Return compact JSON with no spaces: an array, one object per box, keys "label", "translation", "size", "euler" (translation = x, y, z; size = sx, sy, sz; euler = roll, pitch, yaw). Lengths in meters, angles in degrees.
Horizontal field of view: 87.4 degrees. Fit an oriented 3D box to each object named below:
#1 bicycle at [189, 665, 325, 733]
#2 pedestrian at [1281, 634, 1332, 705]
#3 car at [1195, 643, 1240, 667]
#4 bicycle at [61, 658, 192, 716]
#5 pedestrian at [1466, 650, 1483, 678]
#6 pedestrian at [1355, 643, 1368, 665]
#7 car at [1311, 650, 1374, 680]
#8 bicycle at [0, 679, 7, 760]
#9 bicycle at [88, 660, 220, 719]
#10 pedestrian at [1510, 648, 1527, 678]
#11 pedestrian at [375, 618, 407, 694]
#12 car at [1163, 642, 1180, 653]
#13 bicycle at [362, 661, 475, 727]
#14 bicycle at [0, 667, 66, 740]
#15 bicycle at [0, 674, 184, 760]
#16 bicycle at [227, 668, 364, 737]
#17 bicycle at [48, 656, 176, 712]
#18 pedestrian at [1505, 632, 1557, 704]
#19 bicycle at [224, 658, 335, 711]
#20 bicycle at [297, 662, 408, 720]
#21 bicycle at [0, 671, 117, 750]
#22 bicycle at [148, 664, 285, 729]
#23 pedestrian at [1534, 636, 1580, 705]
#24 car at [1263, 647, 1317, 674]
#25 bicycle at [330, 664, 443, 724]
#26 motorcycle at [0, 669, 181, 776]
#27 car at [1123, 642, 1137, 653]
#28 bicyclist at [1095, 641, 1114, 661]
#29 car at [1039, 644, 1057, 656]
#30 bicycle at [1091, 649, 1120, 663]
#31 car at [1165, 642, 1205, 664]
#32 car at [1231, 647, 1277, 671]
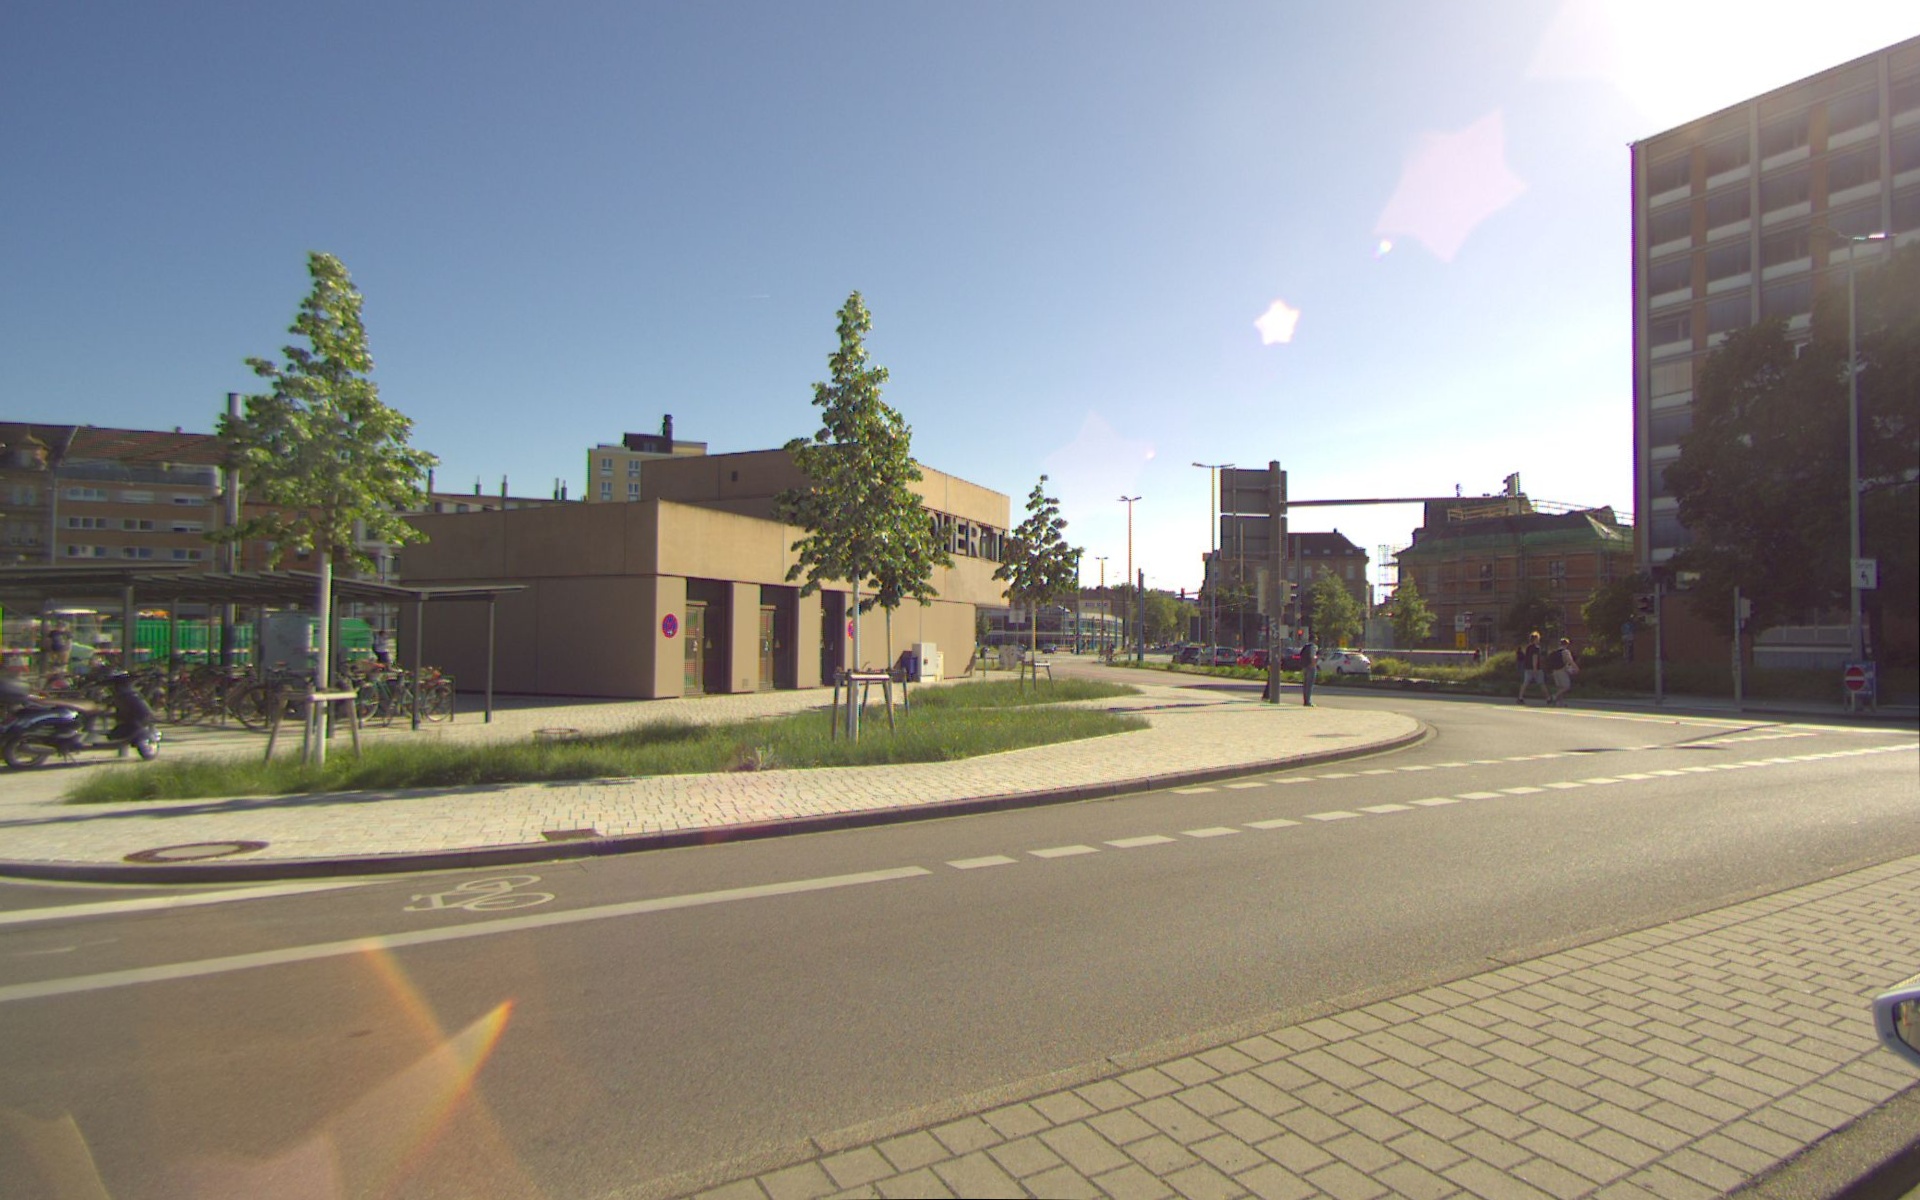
[{"label":"bicycle","translation":[-11.888,1.649,17.059],"size":[0.449,1.022,1.902],"euler":[0,-2,26]},{"label":"pedestrian","translation":[8.711,1.738,25.250],"size":[1.044,1.753,0.652],"euler":[1,-2,-16]},{"label":"car","translation":[17.464,3.689,68.270],"size":[1.760,1.528,3.880],"euler":[1,-2,-6]},{"label":"bicycle","translation":[-15.916,1.641,19.240],"size":[0.449,1.022,1.902],"euler":[0,-2,26]},{"label":"pedestrian","translation":[33.659,4.176,65.734],"size":[0.752,1.753,0.677],"euler":[2,-2,-32]},{"label":"pedestrian","translation":[31.886,4.260,79.767],"size":[0.674,1.753,0.755],"euler":[1,-2,-29]},{"label":"car","translation":[21.254,3.589,55.933],"size":[1.760,1.528,3.880],"euler":[1,-2,-6]},{"label":"bicycle","translation":[-12.744,1.482,12.003],"size":[0.449,1.022,1.902],"euler":[0,-2,26]},{"label":"bicycle","translation":[-15.080,1.653,18.865],"size":[0.449,1.022,1.902],"euler":[0,-2,26]},{"label":"pedestrian","translation":[33.221,3.735,59.742],"size":[0.754,1.753,0.675],"euler":[2,-2,-39]},{"label":"pedestrian","translation":[-15.597,1.518,27.565],"size":[0.710,2.040,0.682],"euler":[2,-1,-30]},{"label":"car","translation":[38.092,8.556,180.707],"size":[1.760,2.040,3.993],"euler":[0,-2,29]},{"label":"bicycle","translation":[-9.926,1.694,18.490],"size":[0.449,1.112,1.902],"euler":[0,-2,26]},{"label":"bicycle","translation":[-14.157,1.506,14.446],"size":[0.449,1.022,1.902],"euler":[0,-2,26]},{"label":"bicycle","translation":[-11.813,1.553,13.723],"size":[0.449,1.022,1.902],"euler":[0,-2,26]},{"label":"bicycle","translation":[-10.909,1.660,16.570],"size":[0.449,1.022,1.902],"euler":[0,-2,26]},{"label":"bicycle","translation":[-16.699,1.636,19.838],"size":[0.449,1.022,1.902],"euler":[0,-2,26]},{"label":"pedestrian","translation":[15.239,1.811,26.826],"size":[0.895,1.887,0.813],"euler":[1,-2,-16]},{"label":"bicycle","translation":[-14.071,1.725,20.829],"size":[0.449,1.022,1.902],"euler":[0,-2,26]},{"label":"bicycle","translation":[-11.796,1.741,19.577],"size":[0.449,1.022,1.902],"euler":[0,-2,26]},{"label":"bicycle","translation":[-13.028,1.534,14.015],"size":[0.449,1.022,1.902],"euler":[0,-2,26]},{"label":"bicycle","translation":[-12.897,1.646,17.489],"size":[0.449,1.022,1.902],"euler":[0,-2,26]},{"label":"pedestrian","translation":[15.338,1.799,25.816],"size":[0.748,1.753,0.680],"euler":[1,-2,-16]},{"label":"car","translation":[20.583,3.762,62.772],"size":[1.760,1.528,3.880],"euler":[1,-2,-6]},{"label":"bicycle","translation":[-10.706,1.731,18.819],"size":[0.449,1.022,1.902],"euler":[0,-2,26]},{"label":"motorcycle","translation":[-10.919,1.473,12.470],"size":[0.508,1.166,1.947],"euler":[0,-2,25]},{"label":"car","translation":[34.224,9.463,202.079],"size":[1.961,2.040,3.998],"euler":[2,0,23]},{"label":"bicyclist","translation":[12.220,4.300,84.918],"size":[1.544,1.655,0.811],"euler":[2,0,6]},{"label":"car","translation":[12.440,7.006,141.968],"size":[1.709,1.672,4.002],"euler":[0,-2,17]},{"label":"bicycle","translation":[12.281,4.752,84.912],"size":[2.370,1.076,0.811],"euler":[2,0,6]},{"label":"car","translation":[16.783,3.924,74.997],"size":[1.760,1.528,3.880],"euler":[1,-2,-6]},{"label":"car","translation":[20.212,4.027,69.250],"size":[1.760,1.528,3.880],"euler":[1,-2,-6]}]
